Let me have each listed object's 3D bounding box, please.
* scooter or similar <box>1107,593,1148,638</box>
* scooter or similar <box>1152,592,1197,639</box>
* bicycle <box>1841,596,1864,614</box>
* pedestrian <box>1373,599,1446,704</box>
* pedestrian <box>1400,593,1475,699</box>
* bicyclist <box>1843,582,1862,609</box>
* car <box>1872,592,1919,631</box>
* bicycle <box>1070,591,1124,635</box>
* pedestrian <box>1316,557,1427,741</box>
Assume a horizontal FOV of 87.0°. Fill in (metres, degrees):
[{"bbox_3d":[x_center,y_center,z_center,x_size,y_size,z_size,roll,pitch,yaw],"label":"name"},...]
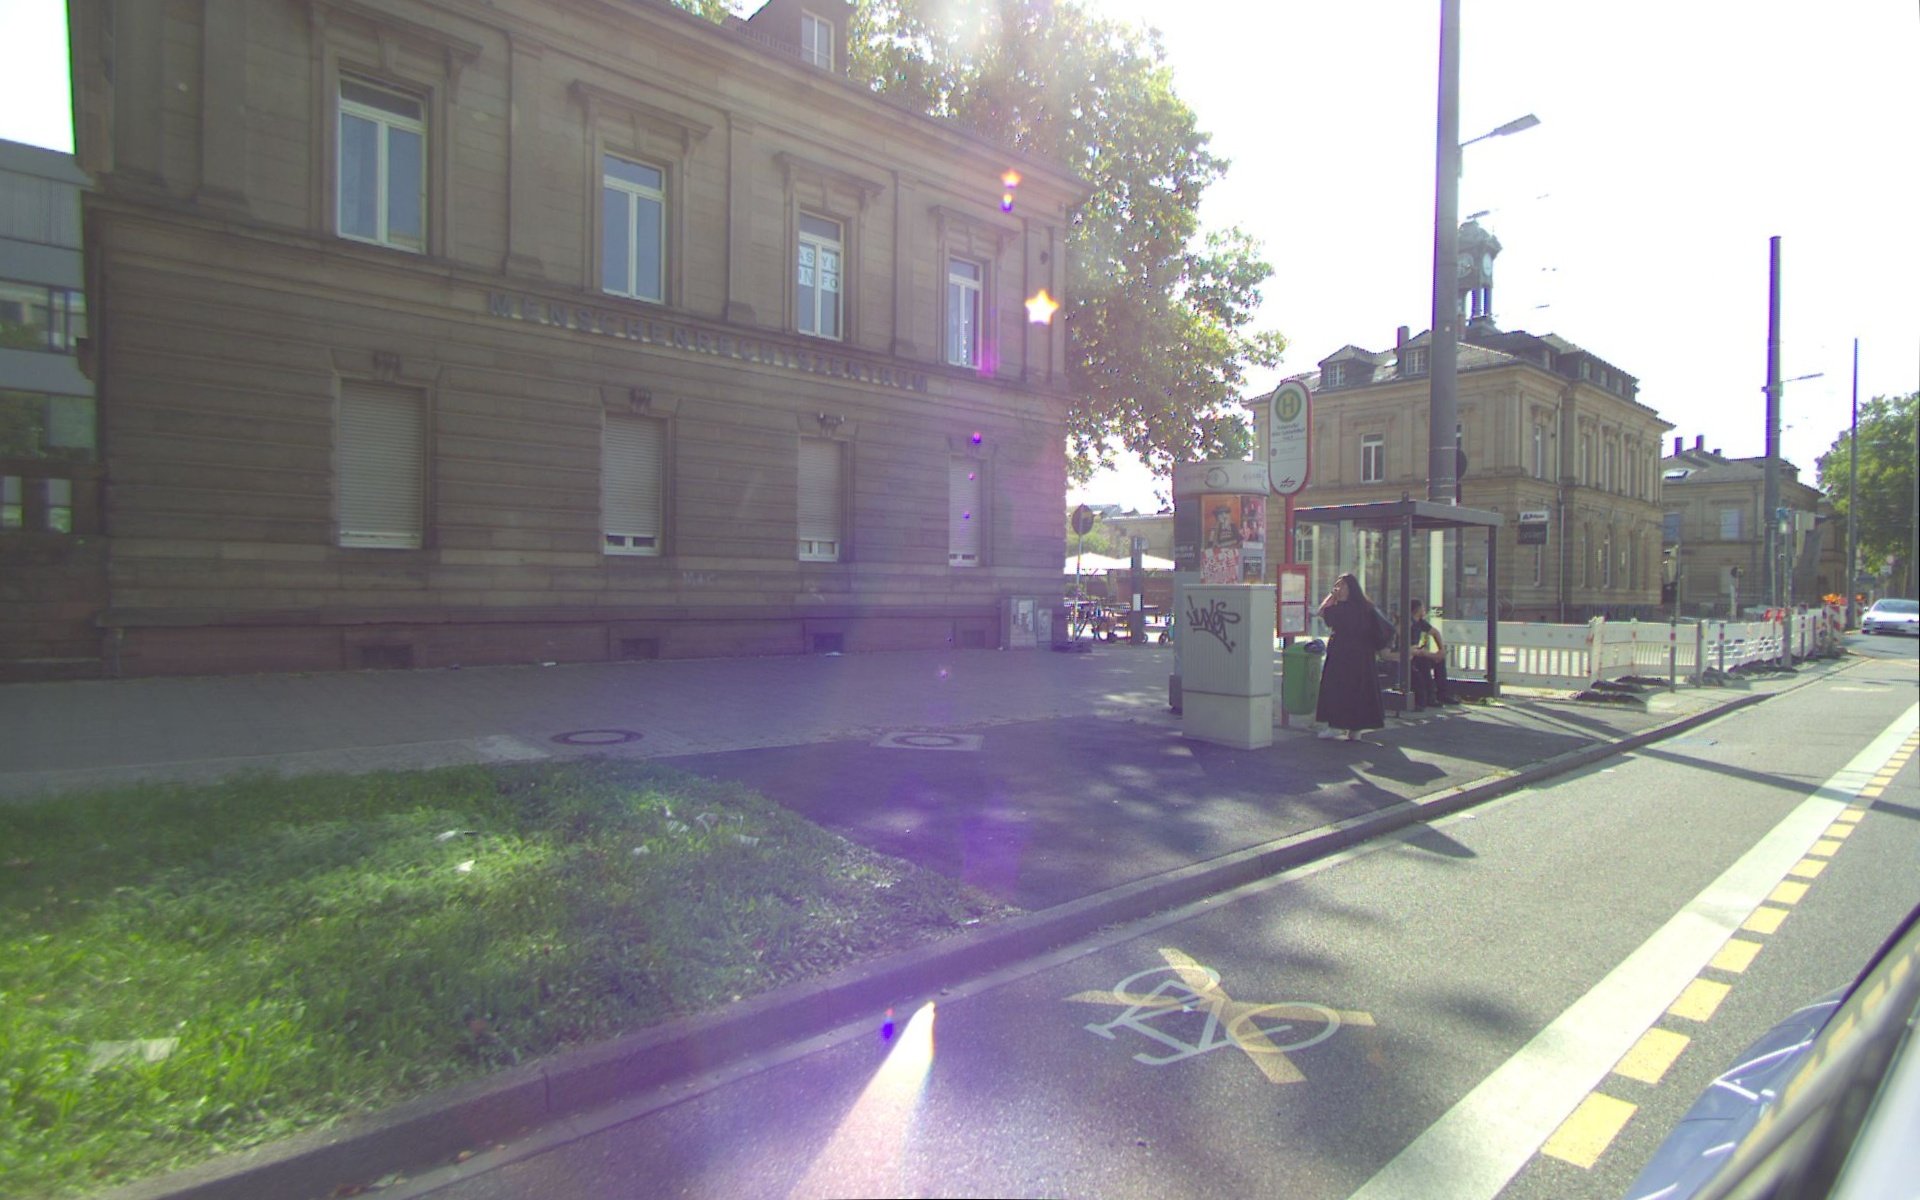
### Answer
[{"bbox_3d":[4.394,0.402,26.598,0.307,1.147,1.092,0,1,-44],"label":"scooter or similar"},{"bbox_3d":[5.480,0.387,25.832,1.203,1.181,0.410,0,1,-37],"label":"scooter or similar"},{"bbox_3d":[54.305,0.306,61.577,2.095,1.045,0.743,0,1,-41],"label":"bicycle"},{"bbox_3d":[5.570,0.621,12.548,0.565,1.233,0.609,0,2,-44],"label":"pedestrian"},{"bbox_3d":[6.169,0.575,13.066,0.746,1.293,0.609,0,2,-44],"label":"pedestrian"},{"bbox_3d":[54.277,-0.281,61.543,0.838,1.646,0.736,0,1,-41],"label":"bicyclist"},{"bbox_3d":[38.200,0.457,40.664,3.930,1.478,1.843,0,1,-41],"label":"car"},{"bbox_3d":[3.806,0.363,28.094,1.599,1.181,0.499,0,1,-37],"label":"bicycle"},{"bbox_3d":[3.870,0.432,9.594,0.872,1.646,0.818,1,0,17],"label":"pedestrian"}]
